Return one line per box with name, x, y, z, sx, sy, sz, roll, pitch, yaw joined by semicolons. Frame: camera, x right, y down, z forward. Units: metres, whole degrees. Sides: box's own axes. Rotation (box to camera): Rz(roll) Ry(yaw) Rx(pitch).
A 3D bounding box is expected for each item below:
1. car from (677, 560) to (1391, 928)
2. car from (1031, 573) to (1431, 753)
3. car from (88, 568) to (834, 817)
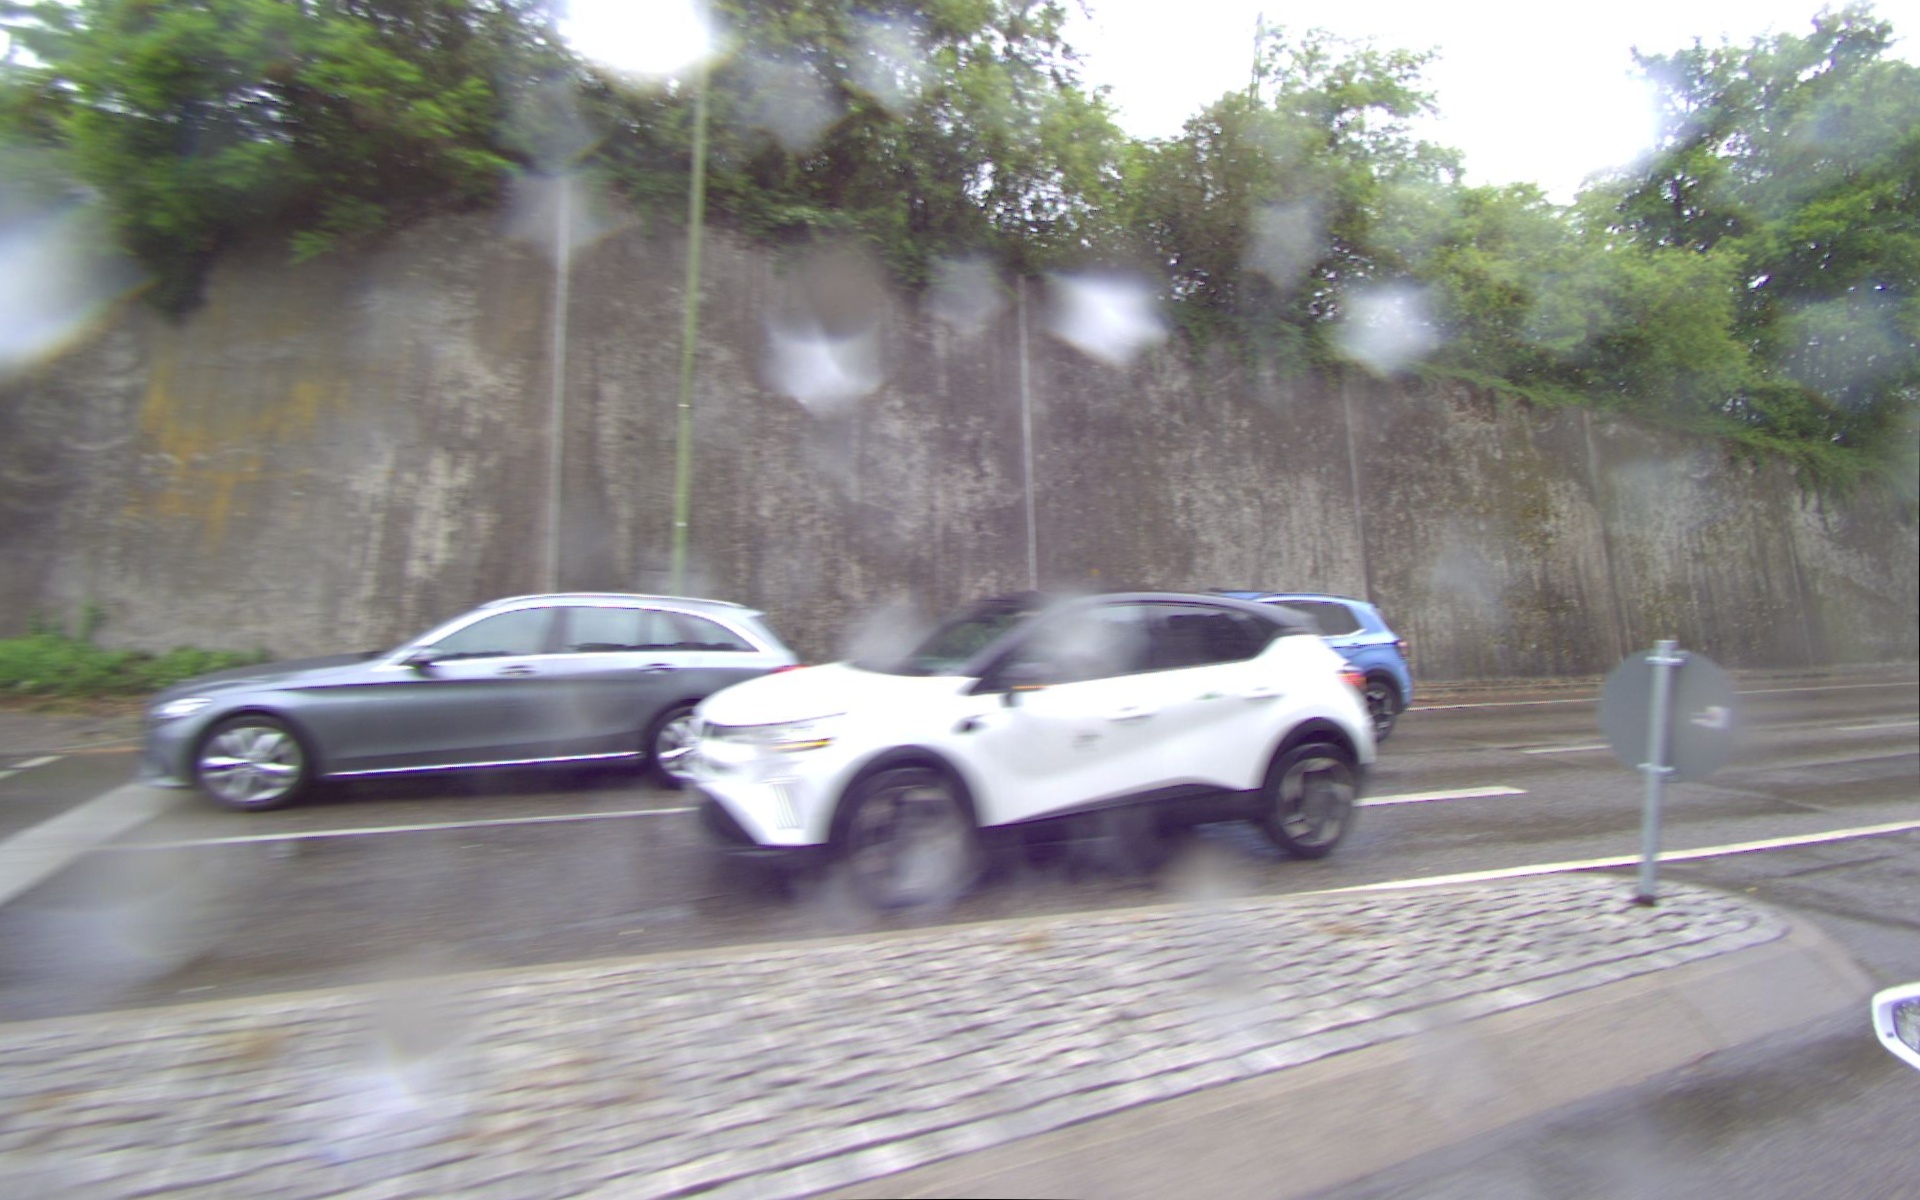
car;0.449;0.694;6.120;3.945;1.622;1.864;1;-1;-25
car;2.965;0.673;11.011;3.993;1.679;1.811;2;-2;-23
car;-3.515;0.643;7.955;4.660;1.523;1.990;1;-2;-22
